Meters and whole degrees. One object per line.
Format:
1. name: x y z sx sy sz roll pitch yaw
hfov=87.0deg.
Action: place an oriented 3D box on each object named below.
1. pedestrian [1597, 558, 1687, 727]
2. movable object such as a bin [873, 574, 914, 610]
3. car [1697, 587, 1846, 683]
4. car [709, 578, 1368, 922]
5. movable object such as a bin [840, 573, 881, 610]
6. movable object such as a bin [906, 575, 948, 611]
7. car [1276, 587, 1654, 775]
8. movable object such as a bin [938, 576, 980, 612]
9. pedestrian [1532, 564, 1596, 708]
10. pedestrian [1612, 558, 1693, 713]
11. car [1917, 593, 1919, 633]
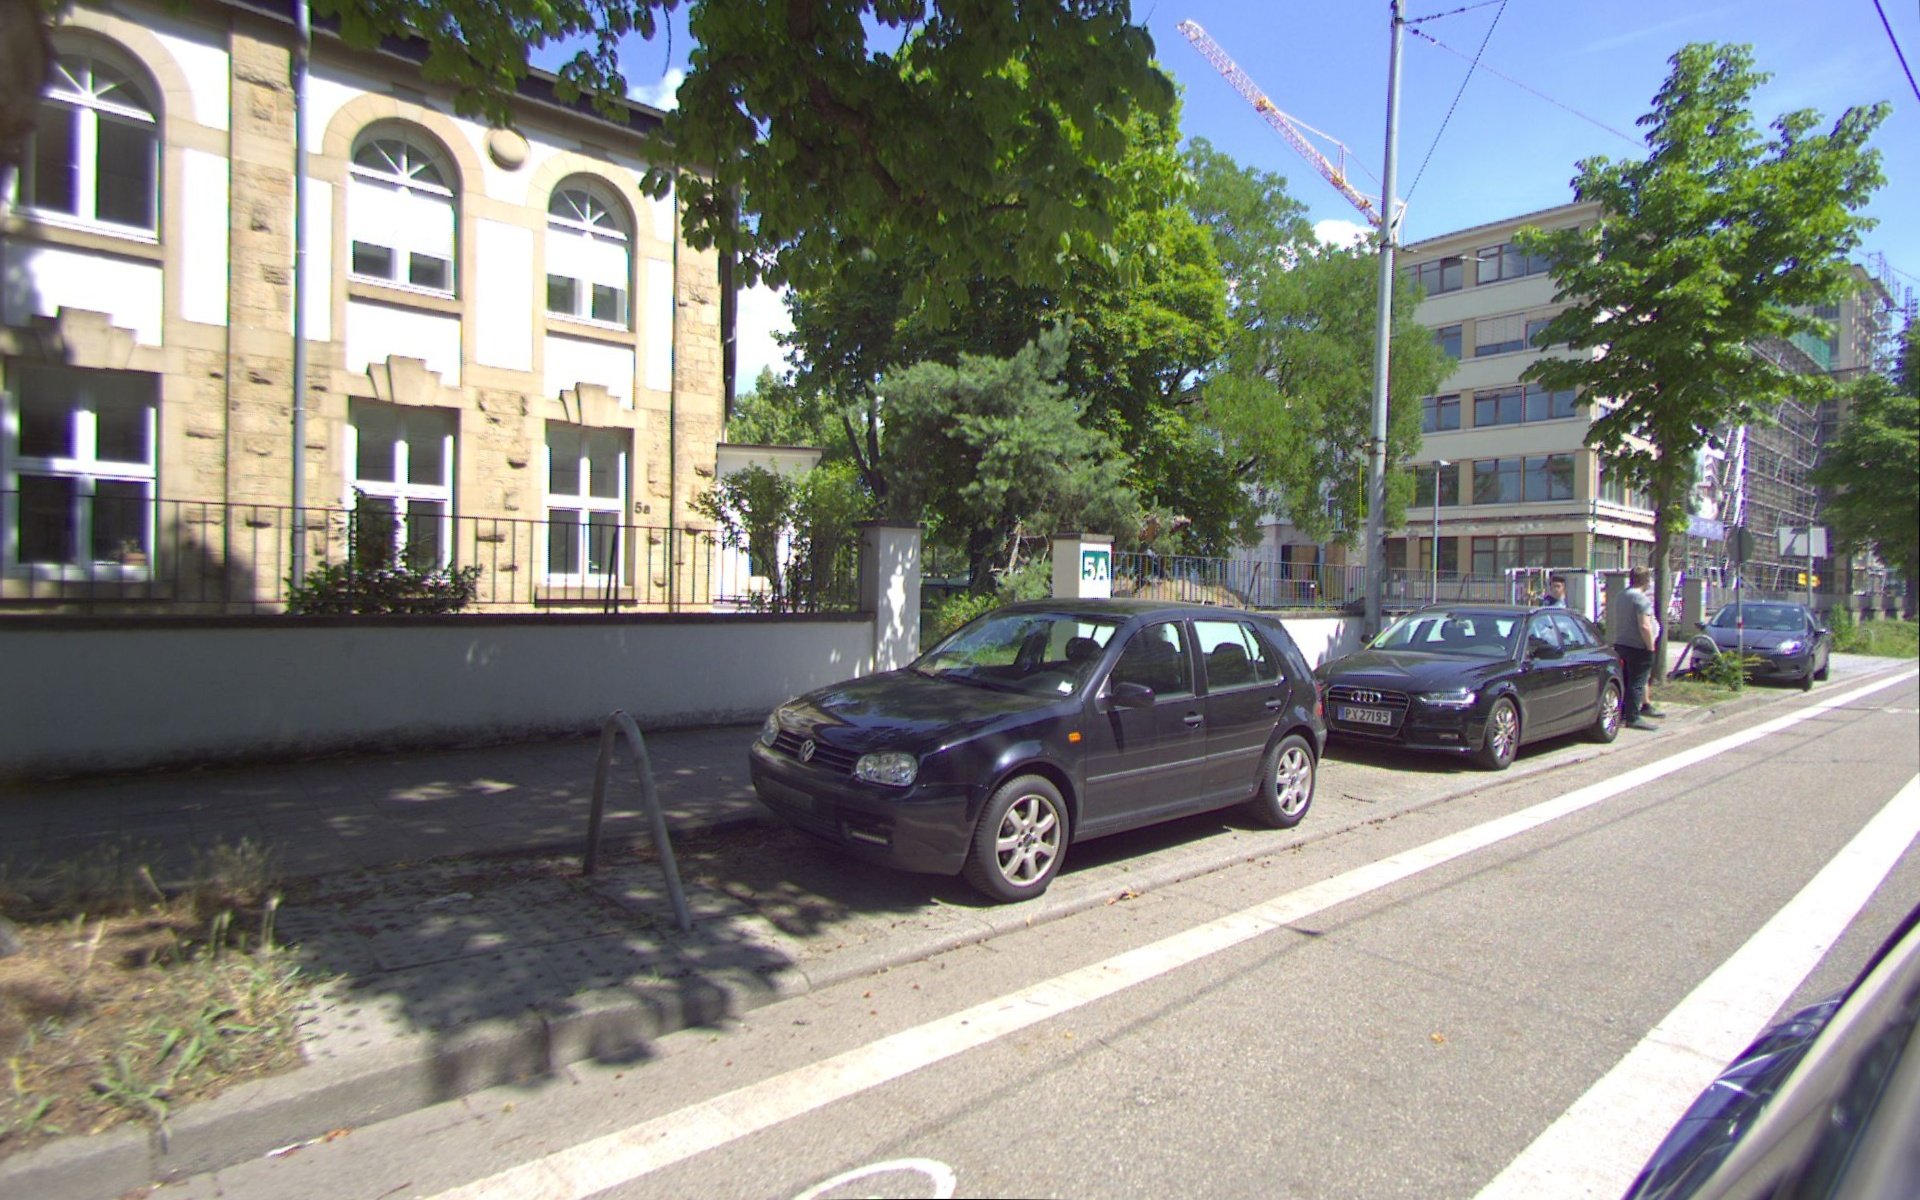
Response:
1. pedestrian: 7.881 0.462 11.726 0.568 1.883 0.808 1 1 13
2. movable object such as a bin: -2.775 -0.349 42.258 1.360 1.481 1.412 1 1 -20
3. car: 14.733 0.544 18.313 3.810 1.504 1.640 -1 2 -44
4. car: 0.730 0.602 6.337 4.171 1.441 1.713 -1 2 -42
5. movable object such as a bin: -4.122 -0.365 41.978 1.360 1.481 1.412 1 1 -20
6. movable object such as a bin: -1.398 -0.296 42.530 1.360 1.481 1.412 1 1 -19
7. car: 5.303 0.630 10.355 4.448 1.473 1.880 -1 2 -41
8. movable object such as a bin: -0.035 -0.274 42.844 1.360 1.481 1.412 1 1 -20
9. pedestrian: 7.605 0.429 12.765 0.471 1.758 0.618 1 2 13
10. pedestrian: 8.696 0.420 12.729 0.568 1.883 0.723 1 1 14
11. car: 39.733 0.540 40.497 3.717 1.553 1.648 0 0 -40
